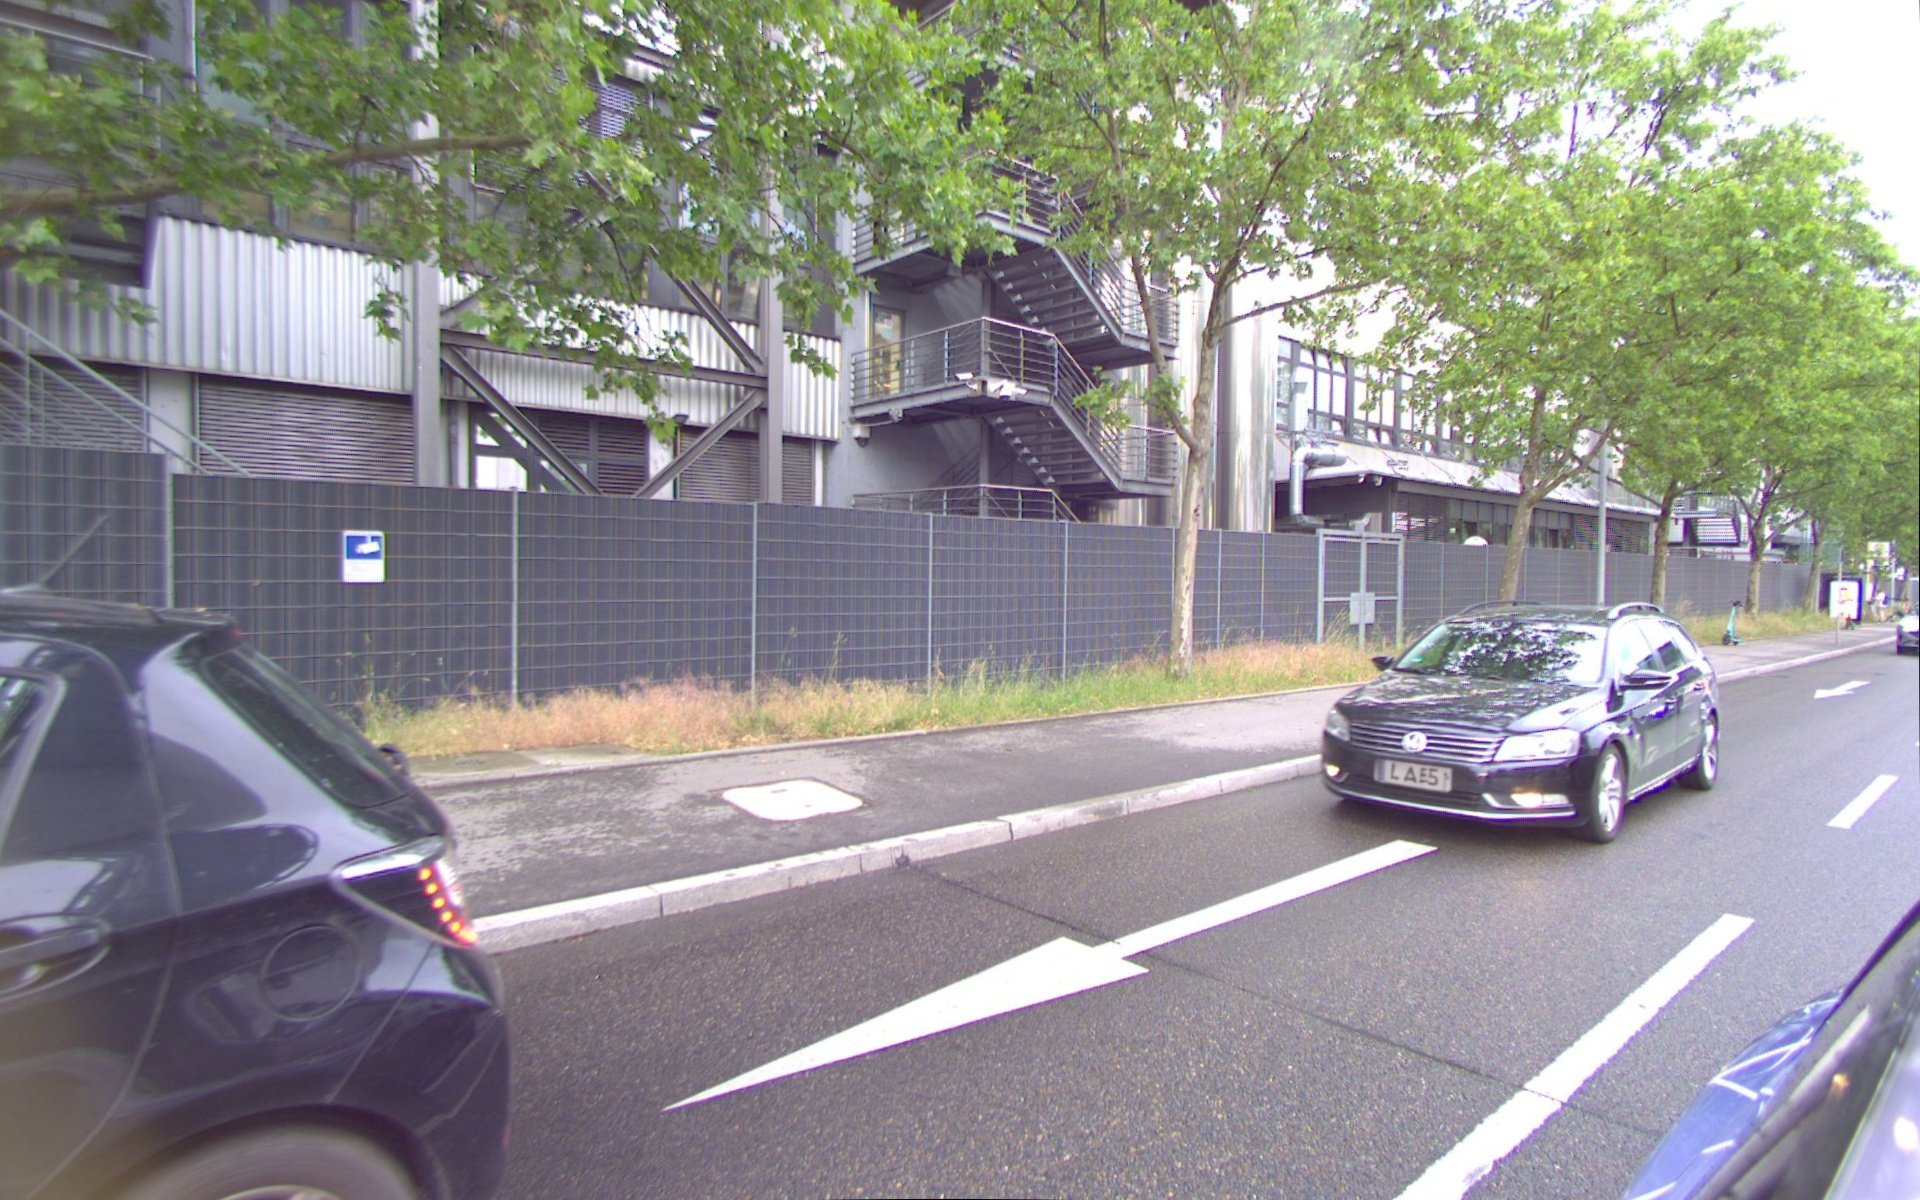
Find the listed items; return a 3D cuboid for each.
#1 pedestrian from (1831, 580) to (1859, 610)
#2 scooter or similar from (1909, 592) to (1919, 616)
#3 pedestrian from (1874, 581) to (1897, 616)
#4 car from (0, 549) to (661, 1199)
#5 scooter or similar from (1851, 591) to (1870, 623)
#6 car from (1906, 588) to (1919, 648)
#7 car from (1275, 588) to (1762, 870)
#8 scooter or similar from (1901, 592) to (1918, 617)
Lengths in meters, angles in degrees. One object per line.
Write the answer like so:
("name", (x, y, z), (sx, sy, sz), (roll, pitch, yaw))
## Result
("pedestrian", (42.836, -0.233, 48.965), (0.686, 1.433, 0.932), (0, 2, -42))
("scooter or similar", (52.555, 0.208, 55.482), (1.341, 1.311, 0.437), (0, 1, -34))
("pedestrian", (46.372, -0.066, 50.709), (0.717, 1.731, 0.777), (0, 1, -42))
("car", (-2.662, 0.670, 1.218), (4.010, 1.512, 1.877), (0, 3, -45))
("scooter or similar", (37.288, 0.287, 41.899), (1.222, 1.325, 0.329), (0, 1, -37))
("car", (28.226, 0.515, 28.540), (4.004, 1.639, 1.949), (0, 2, -43))
("car", (4.401, 0.655, 7.564), (4.705, 1.471, 1.840), (0, 0, -43))
("scooter or similar", (49.552, 0.233, 52.804), (1.277, 1.311, 0.437), (0, 1, -39))
